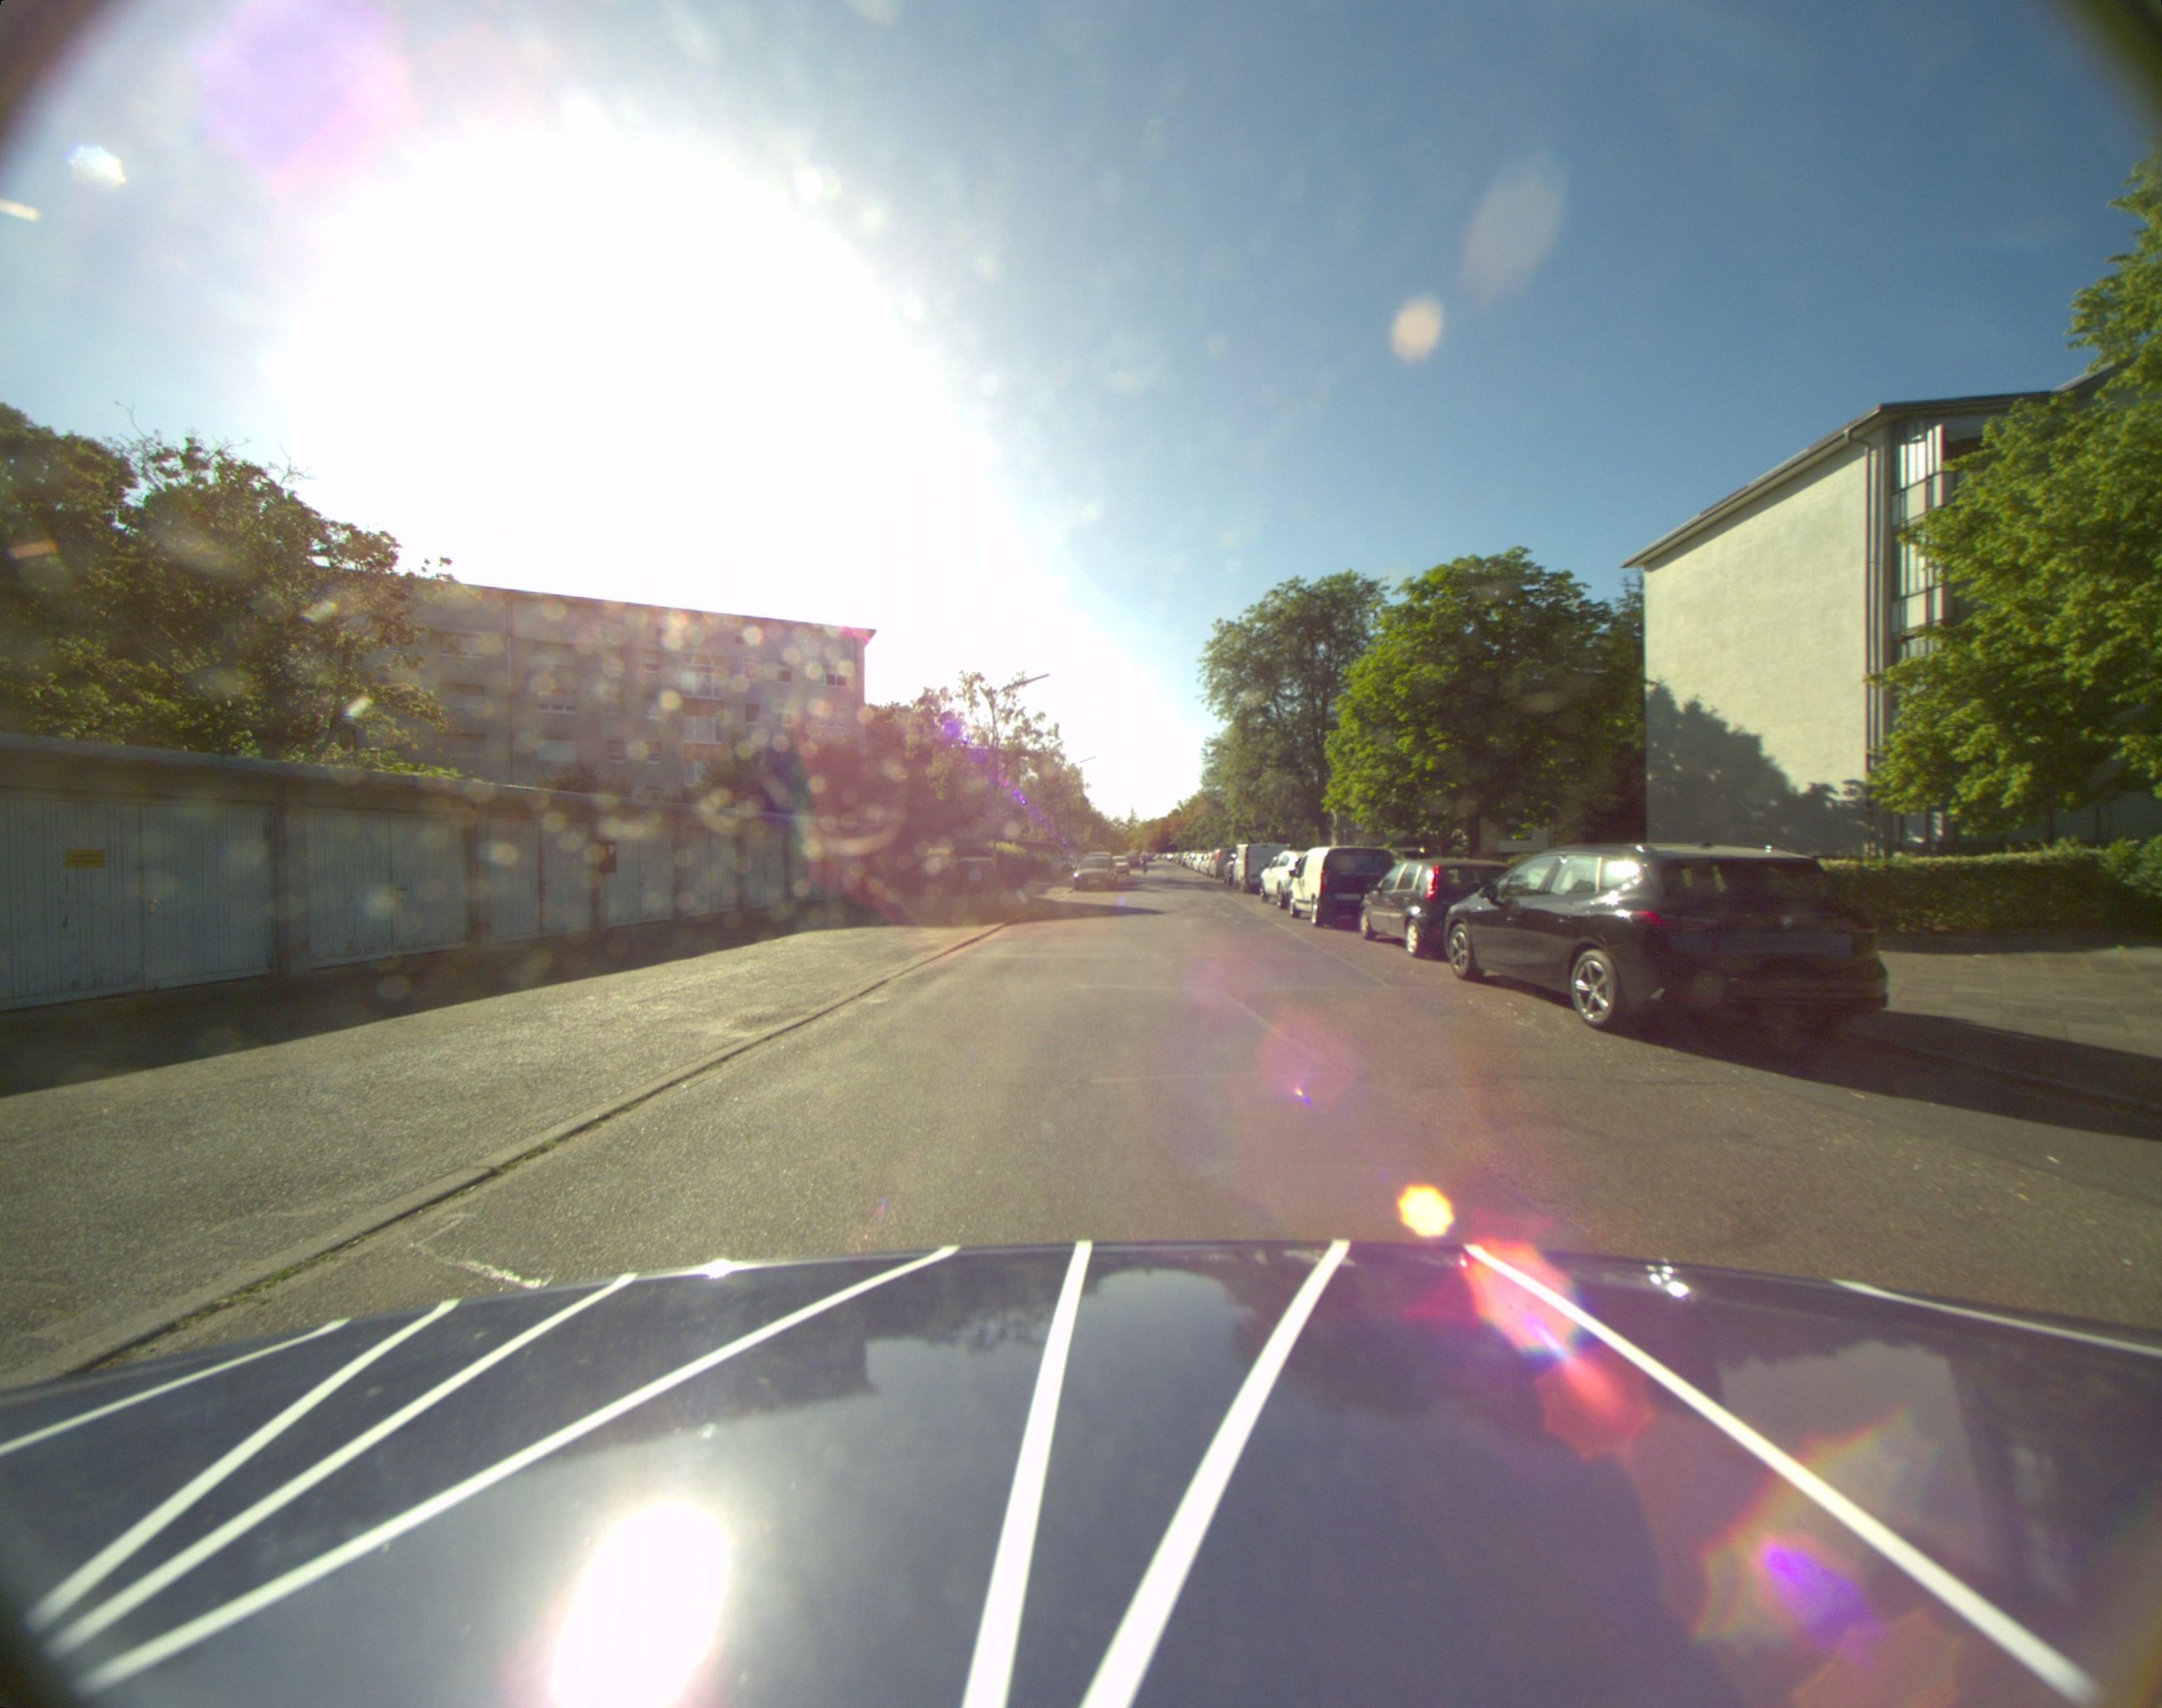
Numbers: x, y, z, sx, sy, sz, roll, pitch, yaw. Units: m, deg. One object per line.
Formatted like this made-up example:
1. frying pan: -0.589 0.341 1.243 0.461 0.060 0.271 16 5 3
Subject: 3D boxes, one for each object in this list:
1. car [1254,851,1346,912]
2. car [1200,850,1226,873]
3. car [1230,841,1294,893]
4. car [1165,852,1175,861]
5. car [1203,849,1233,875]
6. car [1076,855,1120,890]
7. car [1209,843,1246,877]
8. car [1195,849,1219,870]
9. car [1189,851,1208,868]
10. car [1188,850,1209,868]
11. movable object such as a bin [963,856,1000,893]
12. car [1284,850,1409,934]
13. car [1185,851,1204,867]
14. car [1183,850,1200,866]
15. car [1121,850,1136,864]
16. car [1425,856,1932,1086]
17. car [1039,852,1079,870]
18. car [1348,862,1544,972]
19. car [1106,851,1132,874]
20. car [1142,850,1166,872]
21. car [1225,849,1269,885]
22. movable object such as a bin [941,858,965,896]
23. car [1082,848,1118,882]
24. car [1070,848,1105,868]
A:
1. car: 6.493 0.754 22.960 1.732 1.630 4.170 1 0 3
2. car: 9.882 0.520 57.065 1.632 1.619 3.557 1 0 5
3. car: 7.287 0.493 31.009 1.909 1.930 4.512 1 0 6
4. car: 16.021 0.417 136.271 1.632 1.619 3.557 1 0 5
5. car: 9.306 0.522 51.876 1.632 1.619 3.557 1 0 5
6. car: 0.820 0.790 34.561 1.732 1.462 3.814 -2 0 5
7. car: 8.885 0.339 46.261 1.731 1.941 3.814 1 0 5
8. car: 10.484 0.449 63.219 1.632 1.619 3.557 1 0 5
9. car: 11.648 0.526 75.461 1.632 1.619 3.557 1 0 5
10. car: 10.694 0.426 69.251 1.632 1.619 3.557 1 0 5
11. movable object such as a bin: -3.953 0.802 30.350 1.277 1.434 1.180 1 2 3
12. car: 5.903 0.764 17.345 1.817 1.672 3.649 2 0 5
13. car: 11.819 0.546 79.376 1.632 1.619 3.557 1 0 5
14. car: 12.315 0.434 84.988 1.632 1.619 3.557 1 0 5
15. car: 5.703 0.302 91.128 1.732 1.586 3.814 -2 0 5
16. car: 5.129 0.812 7.488 1.784 1.564 4.425 0 0 5
17. car: -2.027 0.640 70.315 3.503 1.499 1.602 -3 1 -1
18. car: 5.672 0.889 12.311 1.627 1.428 3.655 1 0 5
19. car: 2.856 0.586 56.569 1.732 1.586 3.814 -2 0 5
20. car: 5.511 0.530 57.627 1.732 1.586 3.814 -2 0 5
21. car: 8.022 0.611 37.023 1.731 1.630 3.814 1 0 7
22. movable object such as a bin: -5.055 0.888 29.947 0.753 1.434 0.848 1 2 3
23. car: 1.089 0.594 42.265 1.732 1.743 3.814 -2 0 5
24. car: 0.730 0.437 86.829 3.775 2.002 1.811 -3 1 4
